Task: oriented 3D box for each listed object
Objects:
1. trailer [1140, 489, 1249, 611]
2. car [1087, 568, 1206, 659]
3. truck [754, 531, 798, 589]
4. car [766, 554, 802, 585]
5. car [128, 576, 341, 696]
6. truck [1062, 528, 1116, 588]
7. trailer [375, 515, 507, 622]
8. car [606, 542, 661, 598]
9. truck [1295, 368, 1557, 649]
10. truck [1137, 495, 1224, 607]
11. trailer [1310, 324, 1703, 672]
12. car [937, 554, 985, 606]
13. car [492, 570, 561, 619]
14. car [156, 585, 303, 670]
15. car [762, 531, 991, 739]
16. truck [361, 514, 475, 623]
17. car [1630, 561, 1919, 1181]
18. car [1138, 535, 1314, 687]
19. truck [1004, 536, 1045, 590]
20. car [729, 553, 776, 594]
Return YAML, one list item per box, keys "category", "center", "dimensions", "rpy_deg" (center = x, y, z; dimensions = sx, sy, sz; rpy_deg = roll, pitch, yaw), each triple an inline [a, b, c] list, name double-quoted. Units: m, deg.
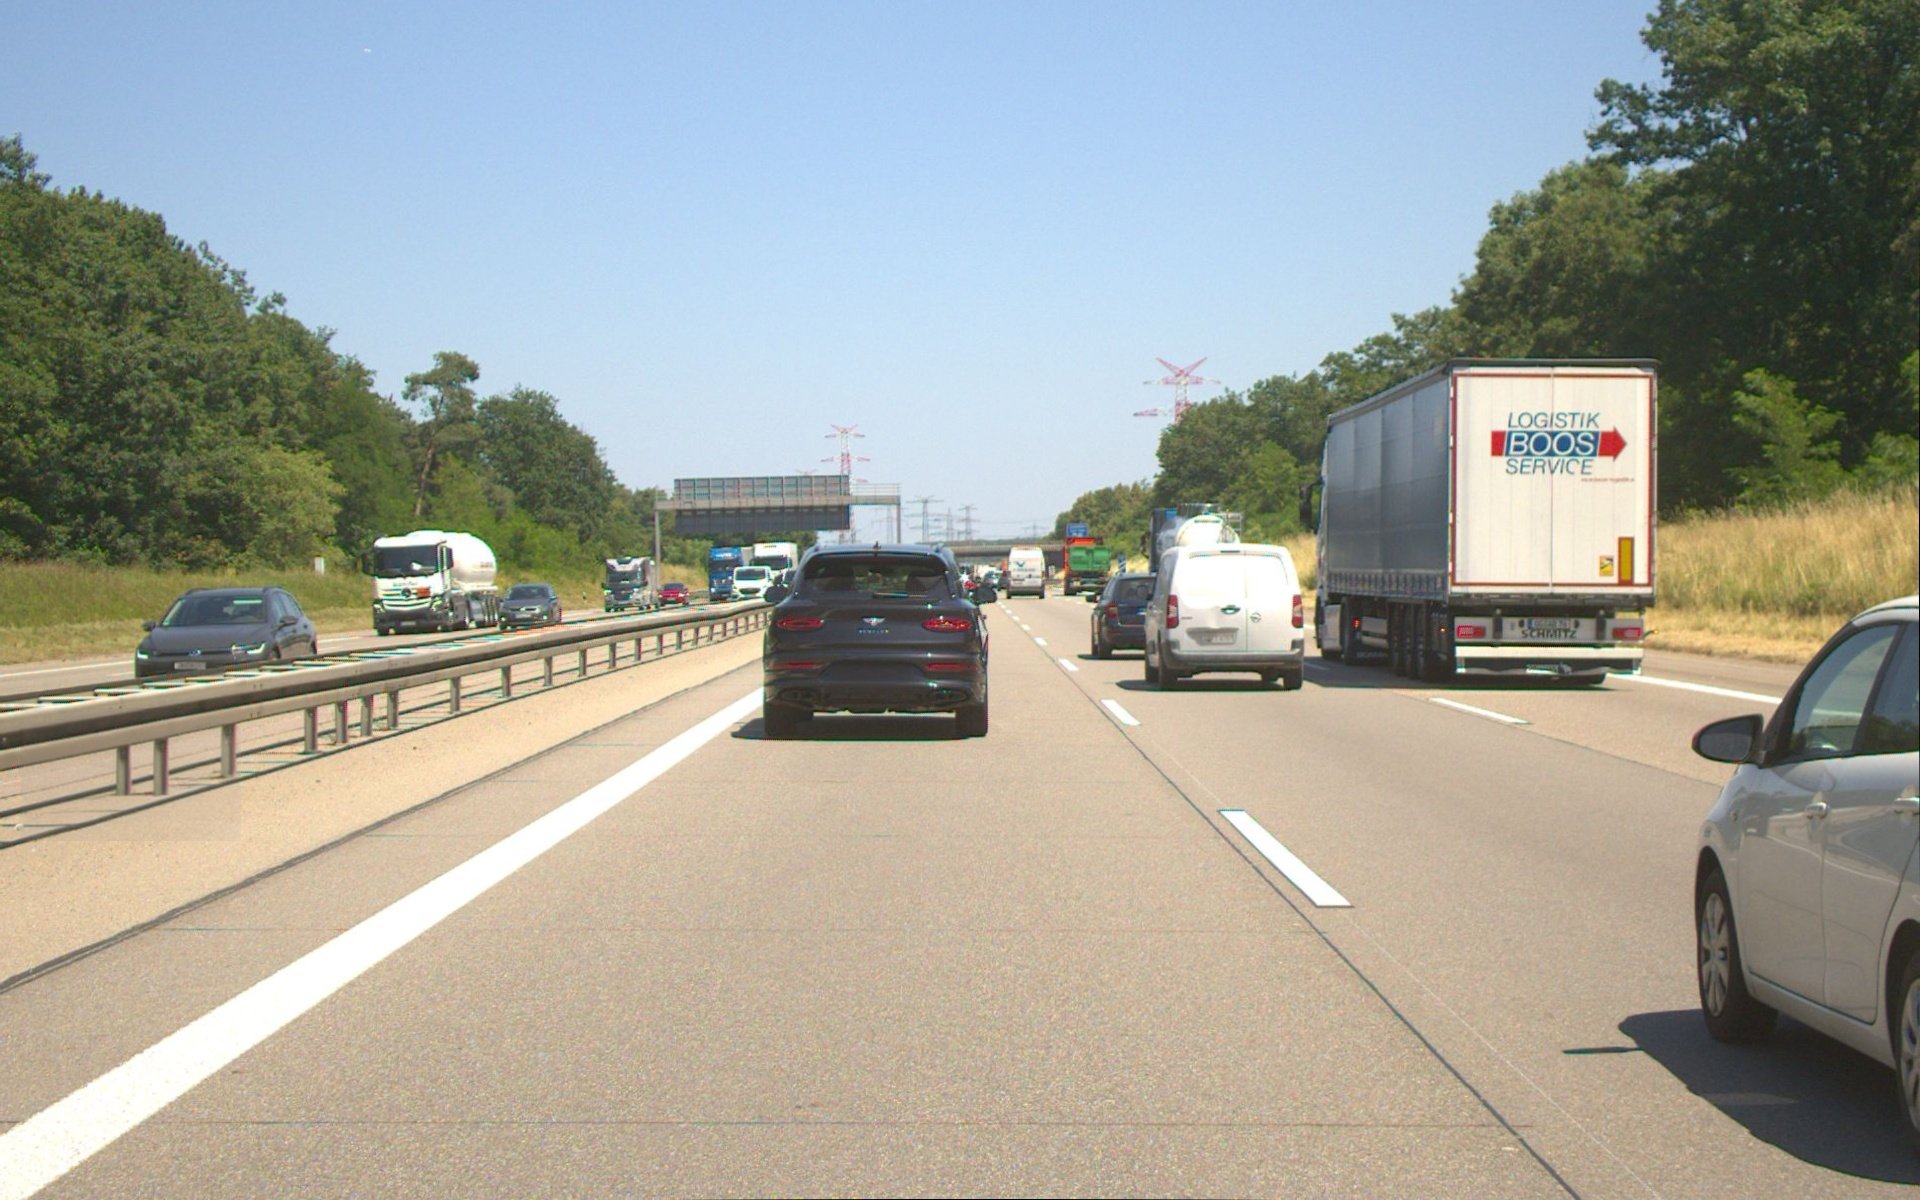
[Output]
- category: "trailer"
  center: [7.745, -1.642, 114.936]
  dimensions: [2.682, 3.824, 12.010]
  rpy_deg: [1, 0, 0]
- category: "car"
  center: [3.127, 0.207, 58.287]
  dimensions: [1.774, 1.467, 3.873]
  rpy_deg: [-1, 1, 0]
- category: "truck"
  center: [-13.153, -2.838, 246.289]
  dimensions: [2.668, 3.976, 6.341]
  rpy_deg: [-3, 1, 0]
- category: "car"
  center: [-11.046, -1.930, 215.890]
  dimensions: [1.876, 1.841, 5.834]
  rpy_deg: [-3, 1, 0]
- category: "car"
  center: [-9.643, 0.434, 46.074]
  dimensions: [1.709, 1.405, 5.083]
  rpy_deg: [-3, 1, 0]
- category: "truck"
  center: [8.214, -2.673, 219.783]
  dimensions: [2.989, 3.716, 10.090]
  rpy_deg: [1, 0, 0]
- category: "trailer"
  center: [-18.020, -1.134, 120.153]
  dimensions: [2.682, 3.422, 11.800]
  rpy_deg: [-3, 1, 0]
- category: "car"
  center: [-17.266, -1.607, 181.873]
  dimensions: [2.213, 2.848, 6.454]
  rpy_deg: [-3, 1, -1]
- category: "truck"
  center: [7.322, -1.403, 54.887]
  dimensions: [3.286, 4.205, 6.008]
  rpy_deg: [1, 0, 0]
- category: "truck"
  center: [7.715, -1.711, 120.639]
  dimensions: [2.682, 3.824, 4.444]
  rpy_deg: [1, 0, 0]
- category: "trailer"
  center: [7.348, -1.307, 48.666]
  dimensions: [3.286, 4.205, 13.565]
  rpy_deg: [1, 1, 0]
- category: "car"
  center: [0.028, -0.717, 118.249]
  dimensions: [1.626, 1.749, 3.805]
  rpy_deg: [0, 1, 0]
- category: "car"
  center: [-13.867, -0.193, 110.158]
  dimensions: [1.633, 1.468, 3.937]
  rpy_deg: [-3, 1, 0]
- category: "car"
  center: [-13.968, 0.493, 66.015]
  dimensions: [1.674, 1.438, 5.136]
  rpy_deg: [-3, 1, 0]
- category: "car"
  center: [-0.747, 0.240, 32.144]
  dimensions: [1.940, 1.746, 5.814]
  rpy_deg: [0, 1, -1]
- category: "truck"
  center: [-18.011, -1.060, 114.660]
  dimensions: [2.682, 3.422, 6.145]
  rpy_deg: [-3, 1, 0]
- category: "car"
  center: [3.185, 0.642, 9.939]
  dimensions: [1.708, 1.490, 4.024]
  rpy_deg: [0, 1, 0]
- category: "car"
  center: [3.346, 0.103, 44.131]
  dimensions: [1.814, 1.821, 5.111]
  rpy_deg: [-1, 1, 0]
- category: "truck"
  center: [3.520, -2.043, 188.751]
  dimensions: [2.060, 2.904, 7.003]
  rpy_deg: [-1, 1, 0]
- category: "car"
  center: [-10.329, -1.332, 171.538]
  dimensions: [1.995, 1.940, 5.743]
  rpy_deg: [-3, 1, -1]
